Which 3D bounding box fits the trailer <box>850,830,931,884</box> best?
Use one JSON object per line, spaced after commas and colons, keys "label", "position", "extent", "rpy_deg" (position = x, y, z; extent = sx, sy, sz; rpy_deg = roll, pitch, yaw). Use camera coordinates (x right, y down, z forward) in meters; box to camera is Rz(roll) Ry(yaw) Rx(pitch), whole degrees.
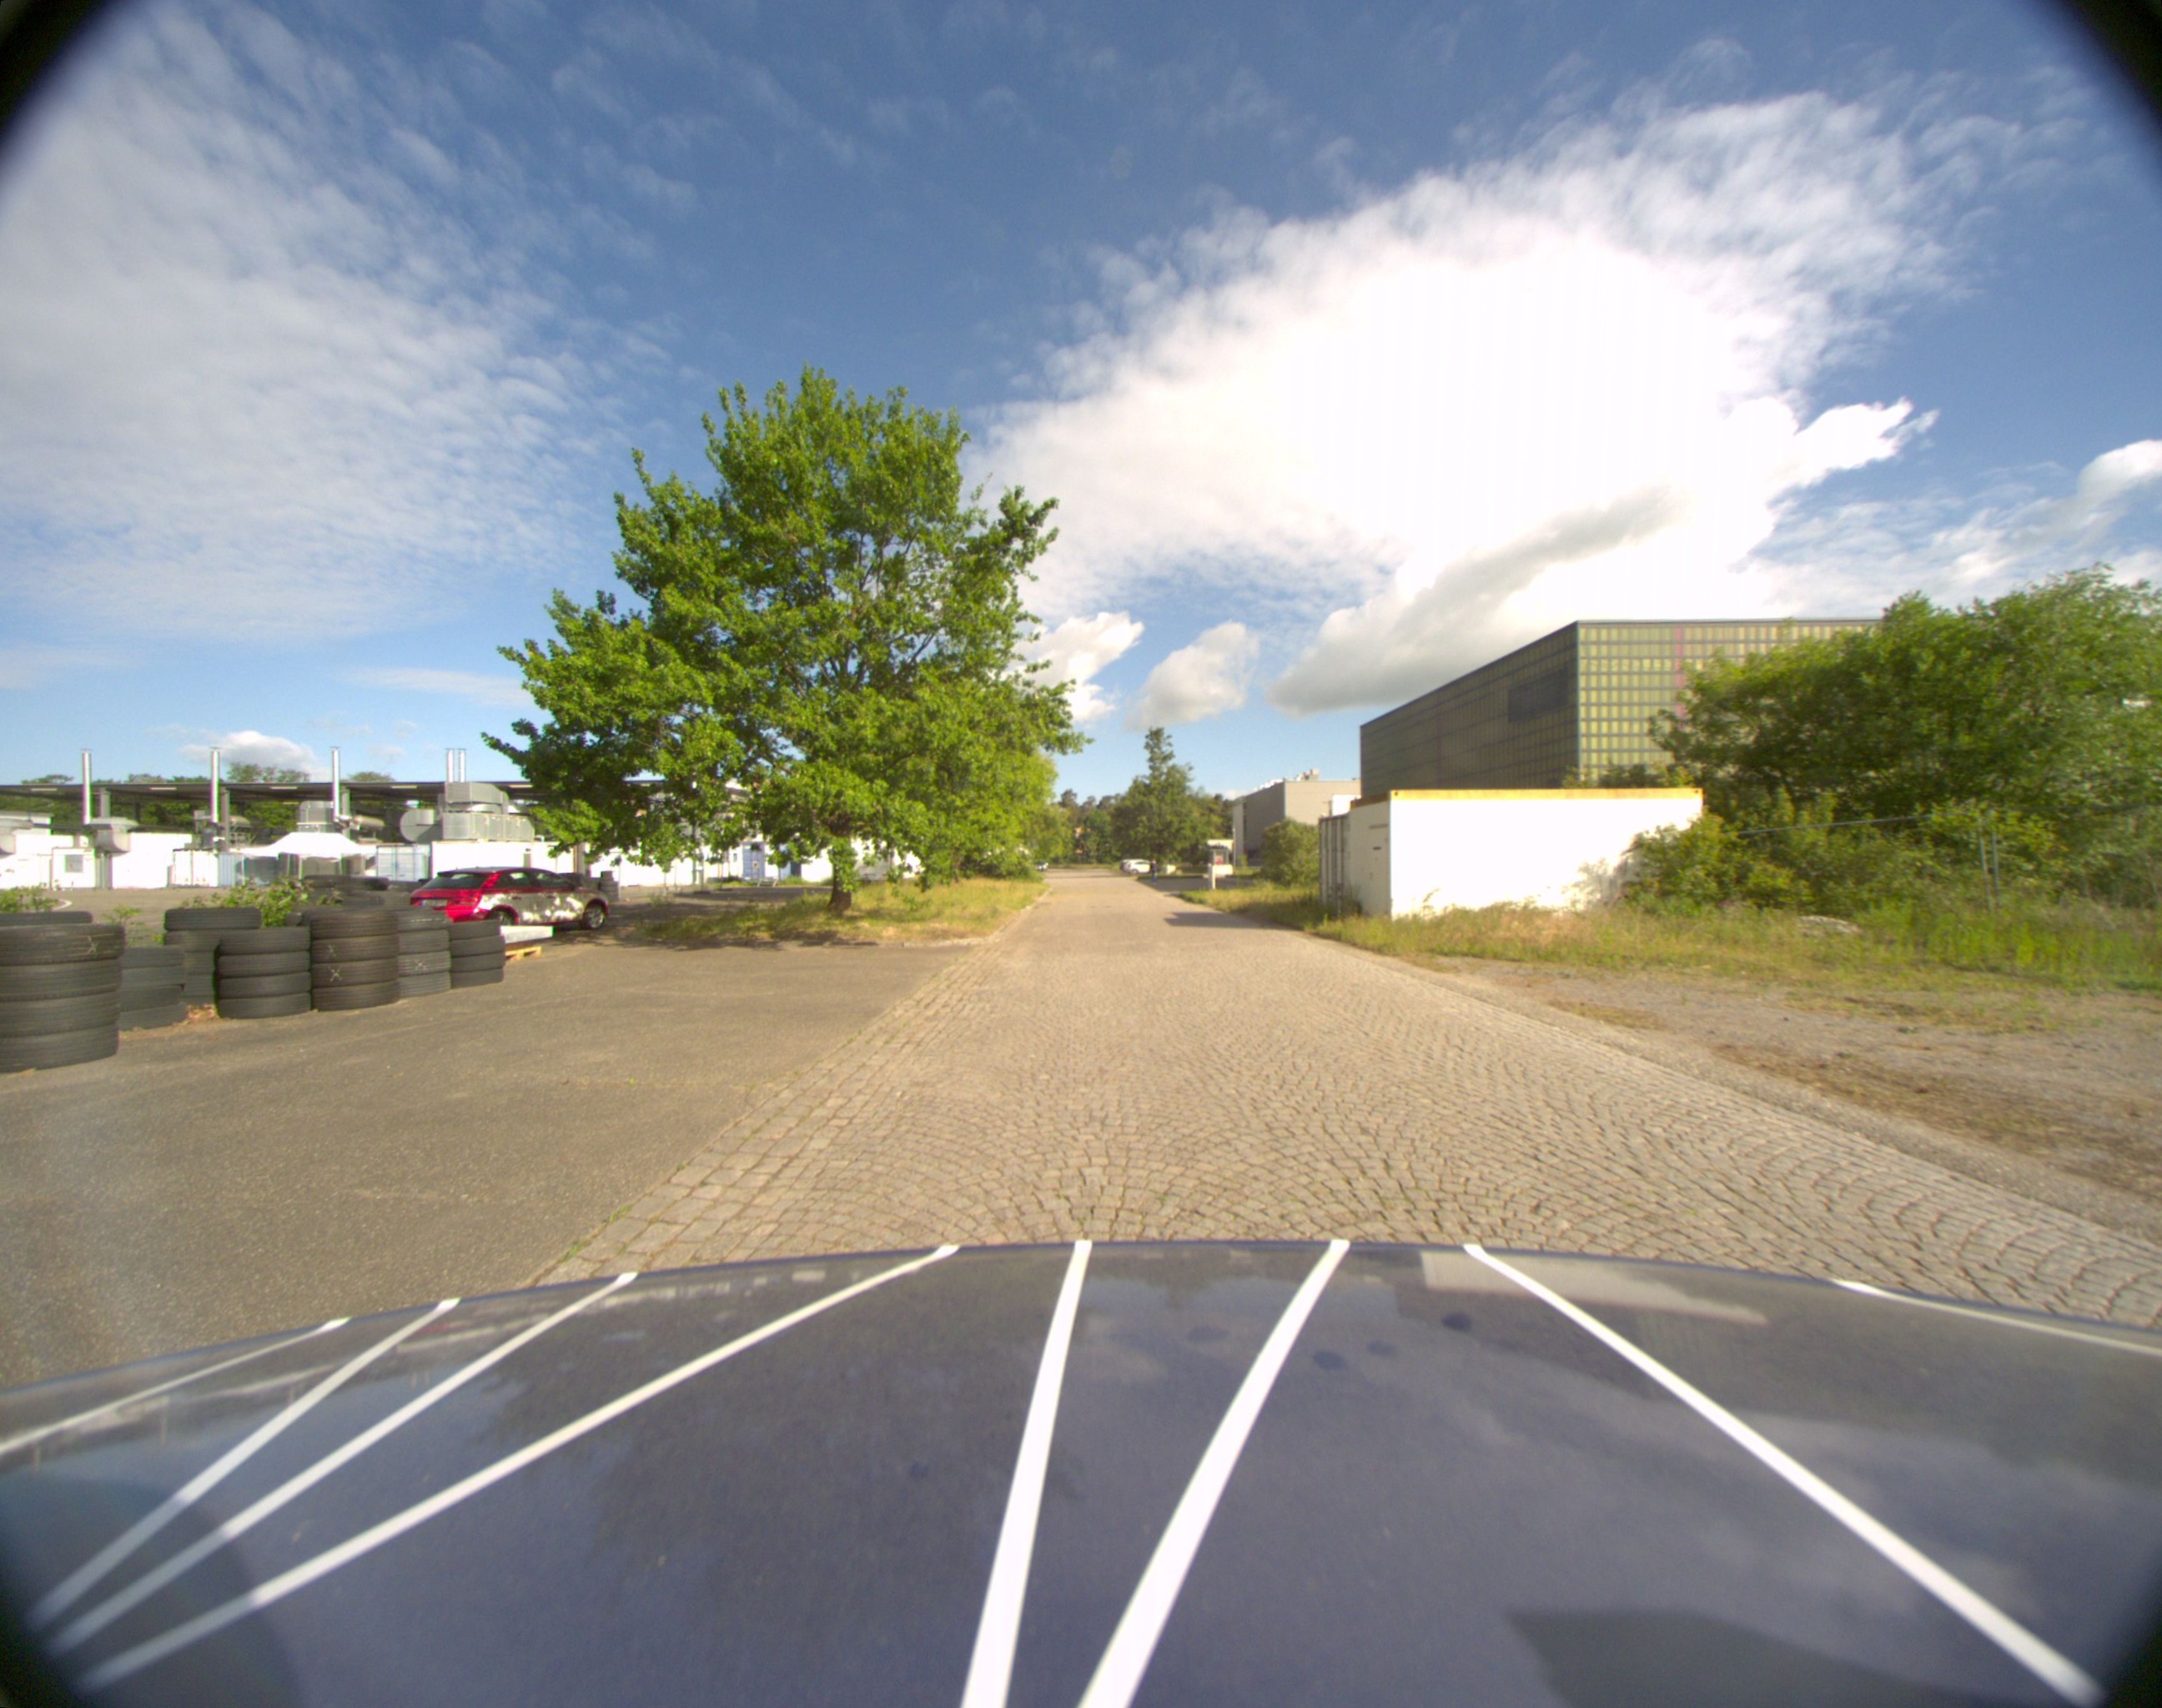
{"label": "trailer", "position": [-13.287, 0.239, 53.972], "extent": [2.924, 3.450, 9.902], "rpy_deg": [0, 0, 2]}

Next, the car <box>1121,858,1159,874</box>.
{"label": "car", "position": [6.362, 1.305, 81.680], "extent": [3.995, 1.633, 2.001], "rpy_deg": [0, 0, 5]}

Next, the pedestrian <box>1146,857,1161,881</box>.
{"label": "pedestrian", "position": [4.629, 0.948, 48.307], "extent": [0.866, 1.549, 1.029], "rpy_deg": [-1, 0, 11]}

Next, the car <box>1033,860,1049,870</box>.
{"label": "car", "position": [-5.622, 1.493, 105.797], "extent": [2.000, 1.363, 3.998], "rpy_deg": [-1, 0, -6]}

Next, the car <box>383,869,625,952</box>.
{"label": "car", "position": [-11.801, 1.072, 15.932], "extent": [1.726, 1.455, 4.002], "rpy_deg": [0, 0, 6]}
